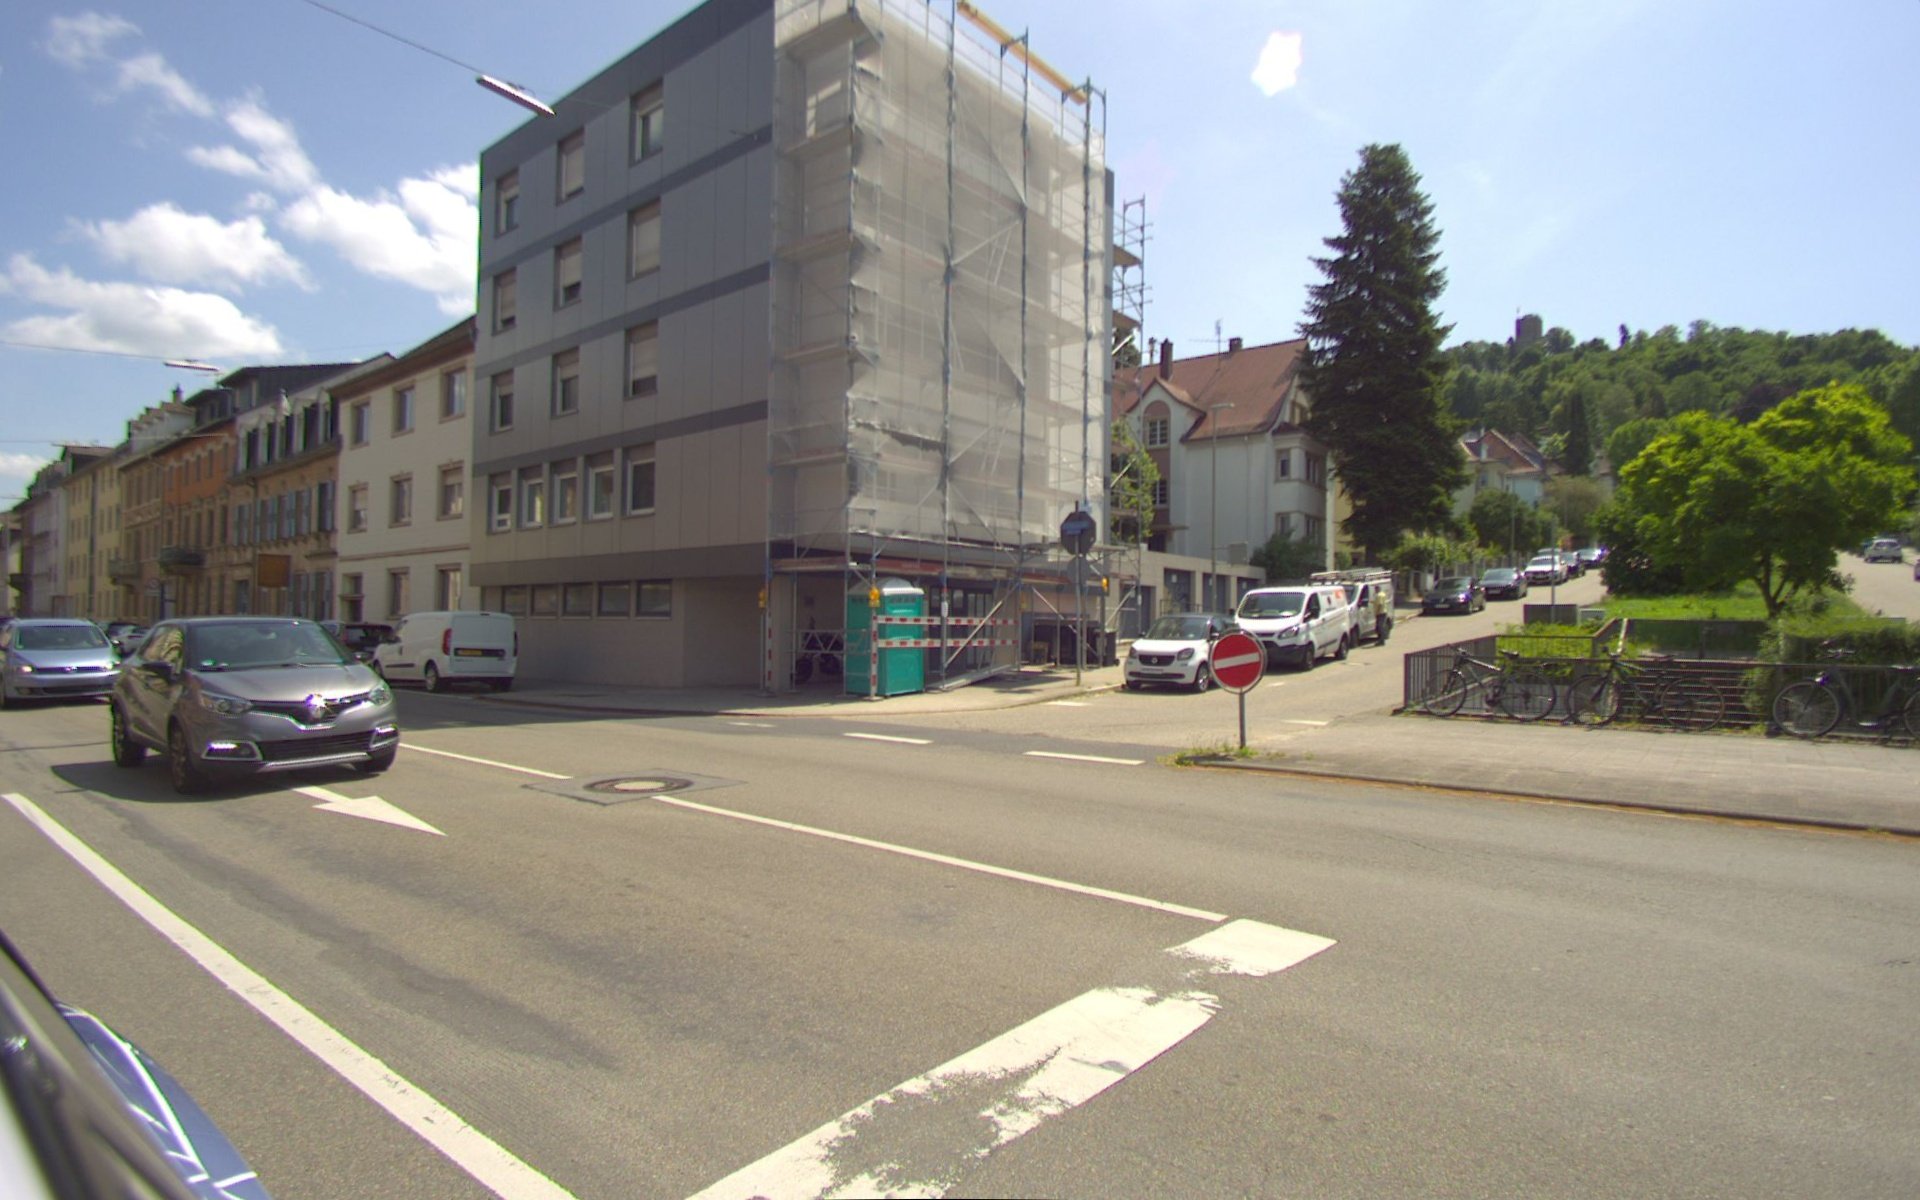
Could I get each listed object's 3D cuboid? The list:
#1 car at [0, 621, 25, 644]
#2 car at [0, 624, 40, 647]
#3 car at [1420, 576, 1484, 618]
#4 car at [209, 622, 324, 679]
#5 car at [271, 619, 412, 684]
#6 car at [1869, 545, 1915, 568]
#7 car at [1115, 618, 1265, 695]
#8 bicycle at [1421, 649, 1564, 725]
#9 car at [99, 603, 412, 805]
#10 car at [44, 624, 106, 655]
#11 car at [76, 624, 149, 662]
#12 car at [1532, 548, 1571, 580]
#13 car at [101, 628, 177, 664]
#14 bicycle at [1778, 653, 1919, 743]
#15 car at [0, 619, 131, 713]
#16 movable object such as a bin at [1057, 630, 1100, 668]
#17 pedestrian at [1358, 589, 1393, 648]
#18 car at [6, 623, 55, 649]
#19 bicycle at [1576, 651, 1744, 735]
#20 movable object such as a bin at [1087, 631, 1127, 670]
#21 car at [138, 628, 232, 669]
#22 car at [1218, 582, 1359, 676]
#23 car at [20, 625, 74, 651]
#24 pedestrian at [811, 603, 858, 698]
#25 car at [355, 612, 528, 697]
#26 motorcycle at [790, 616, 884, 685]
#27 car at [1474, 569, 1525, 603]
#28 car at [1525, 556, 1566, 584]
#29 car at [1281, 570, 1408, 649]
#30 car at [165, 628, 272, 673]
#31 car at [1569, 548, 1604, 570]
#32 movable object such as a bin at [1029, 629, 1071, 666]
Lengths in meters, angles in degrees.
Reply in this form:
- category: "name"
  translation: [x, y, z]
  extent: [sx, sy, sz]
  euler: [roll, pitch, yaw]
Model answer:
- category: "car"
  translation: [-70.654, 2.398, 74.644]
  extent: [1.721, 1.600, 3.963]
  euler: [6, -5, -33]
- category: "car"
  translation: [-65.587, 2.460, 70.533]
  extent: [3.914, 1.421, 1.726]
  euler: [-1, -6, 42]
- category: "car"
  translation: [19.807, -0.145, 40.657]
  extent: [1.754, 1.458, 3.697]
  euler: [-1, 2, 34]
- category: "car"
  translation: [-22.048, 1.569, 32.117]
  extent: [4.816, 1.653, 1.865]
  euler: [-1, -4, 42]
- category: "car"
  translation: [-17.160, 1.383, 27.999]
  extent: [4.659, 1.653, 1.866]
  euler: [-1, -3, 40]
- category: "car"
  translation: [62.345, -2.943, 67.738]
  extent: [1.856, 1.431, 3.950]
  euler: [-1, 2, 37]
- category: "car"
  translation: [4.968, 1.135, 21.558]
  extent: [1.755, 1.458, 3.693]
  euler: [-1, -1, 37]
- category: "bicycle"
  translation: [7.390, 1.182, 14.093]
  extent: [1.716, 0.974, 0.393]
  euler: [-1, -2, 37]
- category: "car"
  translation: [-7.235, 0.890, 10.243]
  extent: [3.999, 1.644, 1.735]
  euler: [-1, -2, 42]
- category: "car"
  translation: [-50.019, 2.222, 57.178]
  extent: [4.497, 1.563, 1.846]
  euler: [-1, -6, 40]
- category: "car"
  translation: [-41.358, 2.073, 49.344]
  extent: [4.497, 1.640, 1.846]
  euler: [-1, -6, 40]
- category: "car"
  translation: [36.544, -2.255, 62.491]
  extent: [1.754, 1.828, 3.697]
  euler: [-1, 2, 34]
- category: "car"
  translation: [-37.361, 2.069, 46.007]
  extent: [4.328, 1.437, 1.845]
  euler: [-1, -6, 41]
- category: "bicycle"
  translation: [10.579, 1.119, 11.644]
  extent: [1.780, 0.974, 0.393]
  euler: [-1, -2, 37]
- category: "car"
  translation: [-17.071, 1.161, 18.987]
  extent: [3.998, 1.580, 1.736]
  euler: [-1, -2, 42]
- category: "movable object such as a bin"
  translation: [3.016, 1.227, 25.738]
  extent: [0.826, 0.933, 0.730]
  euler: [-1, -1, 42]
- category: "pedestrian"
  translation: [12.261, 0.551, 29.839]
  extent: [0.743, 1.727, 0.702]
  euler: [-1, -2, 43]
- category: "car"
  translation: [-61.803, 2.368, 67.267]
  extent: [4.311, 1.563, 1.845]
  euler: [-1, -6, 41]
- category: "bicycle"
  translation: [8.928, 1.160, 12.966]
  extent: [1.743, 0.974, 0.393]
  euler: [-1, -2, 37]
- category: "movable object such as a bin"
  translation: [3.661, 1.248, 25.177]
  extent: [0.703, 0.933, 0.730]
  euler: [-1, -1, 42]
- category: "car"
  translation: [-30.896, 1.931, 40.317]
  extent: [4.325, 1.417, 1.847]
  euler: [0, -5, 38]
- category: "car"
  translation: [8.422, 0.651, 25.641]
  extent: [1.996, 2.028, 4.953]
  euler: [-1, 1, 35]
- category: "car"
  translation: [-56.865, 2.359, 62.993]
  extent: [4.684, 1.463, 1.885]
  euler: [-1, -6, 41]
- category: "pedestrian"
  translation: [-2.476, 0.986, 20.031]
  extent: [0.700, 1.847, 0.787]
  euler: [-1, -1, 12]
- category: "car"
  translation: [-12.416, 1.250, 24.118]
  extent: [4.784, 1.839, 1.894]
  euler: [-1, -3, 40]
- category: "motorcycle"
  translation: [-2.725, 1.090, 22.309]
  extent: [2.009, 1.483, 0.884]
  euler: [0, -1, -11]
- category: "car"
  translation: [25.810, -0.701, 48.360]
  extent: [1.754, 1.458, 3.697]
  euler: [-1, 2, 34]
- category: "car"
  translation: [34.040, -1.770, 58.790]
  extent: [1.754, 1.458, 3.697]
  euler: [-1, 2, 34]
- category: "car"
  translation: [12.058, 0.228, 31.522]
  extent: [2.074, 2.193, 4.944]
  euler: [-1, 1, 41]
- category: "car"
  translation: [-27.001, 1.825, 36.819]
  extent: [4.832, 1.417, 1.847]
  euler: [0, -6, 39]
- category: "car"
  translation: [46.420, -3.042, 74.977]
  extent: [1.756, 1.458, 3.692]
  euler: [-1, 2, 38]
- category: "movable object such as a bin"
  translation: [2.349, 1.241, 26.484]
  extent: [0.826, 0.933, 0.730]
  euler: [-1, -1, 42]
